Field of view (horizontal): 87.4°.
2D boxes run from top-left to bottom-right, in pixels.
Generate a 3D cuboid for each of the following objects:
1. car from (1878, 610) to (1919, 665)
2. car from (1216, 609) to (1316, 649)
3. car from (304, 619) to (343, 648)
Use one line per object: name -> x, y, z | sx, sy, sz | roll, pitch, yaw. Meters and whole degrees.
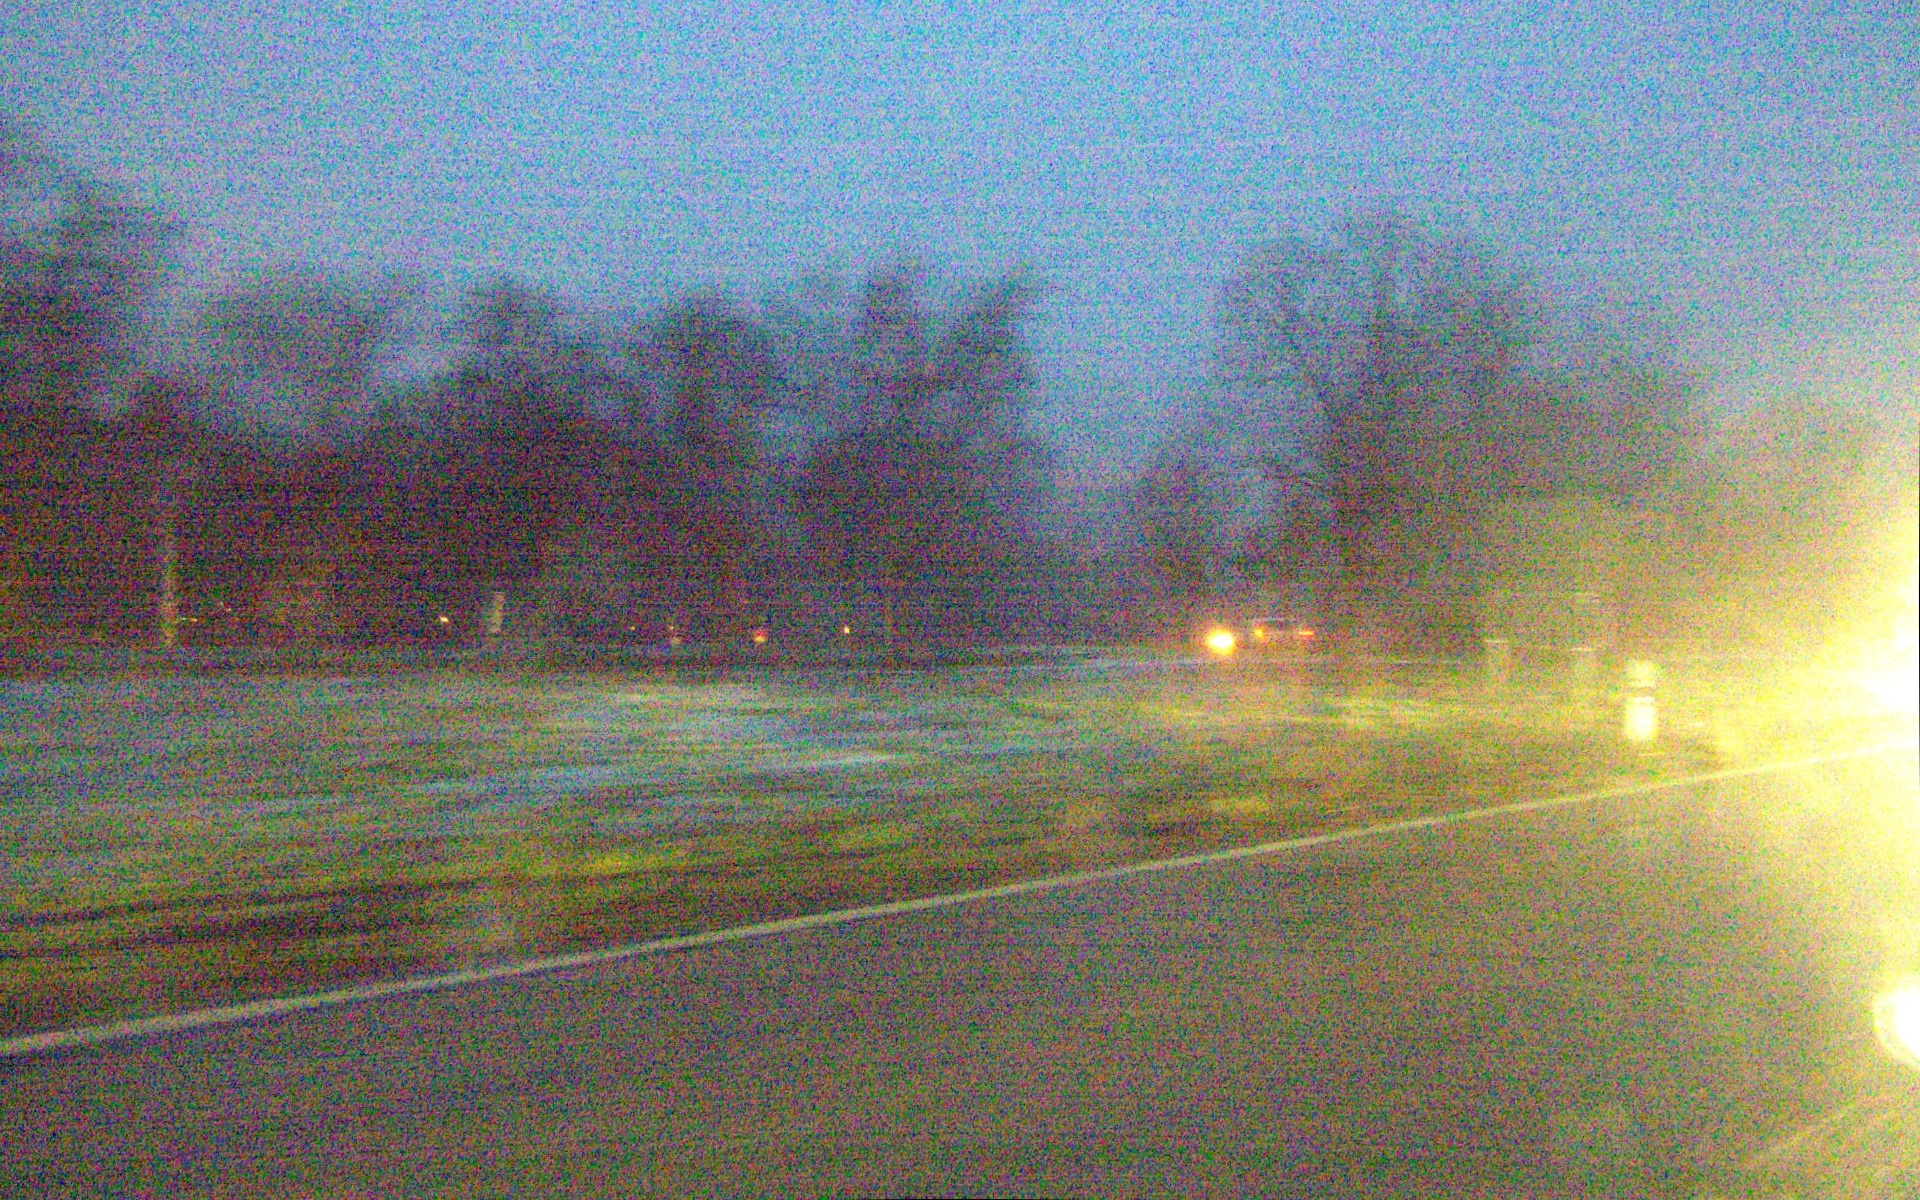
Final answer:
car -> 32.831, 1.234, 32.089 | 1.979, 1.758, 4.882 | 1, -1, -34
car -> 13.881, 1.333, 45.661 | 4.080, 1.709, 1.695 | 1, -3, 4
car -> -54.601, 2.894, 86.145 | 2.286, 2.040, 4.615 | 4, 0, -39
